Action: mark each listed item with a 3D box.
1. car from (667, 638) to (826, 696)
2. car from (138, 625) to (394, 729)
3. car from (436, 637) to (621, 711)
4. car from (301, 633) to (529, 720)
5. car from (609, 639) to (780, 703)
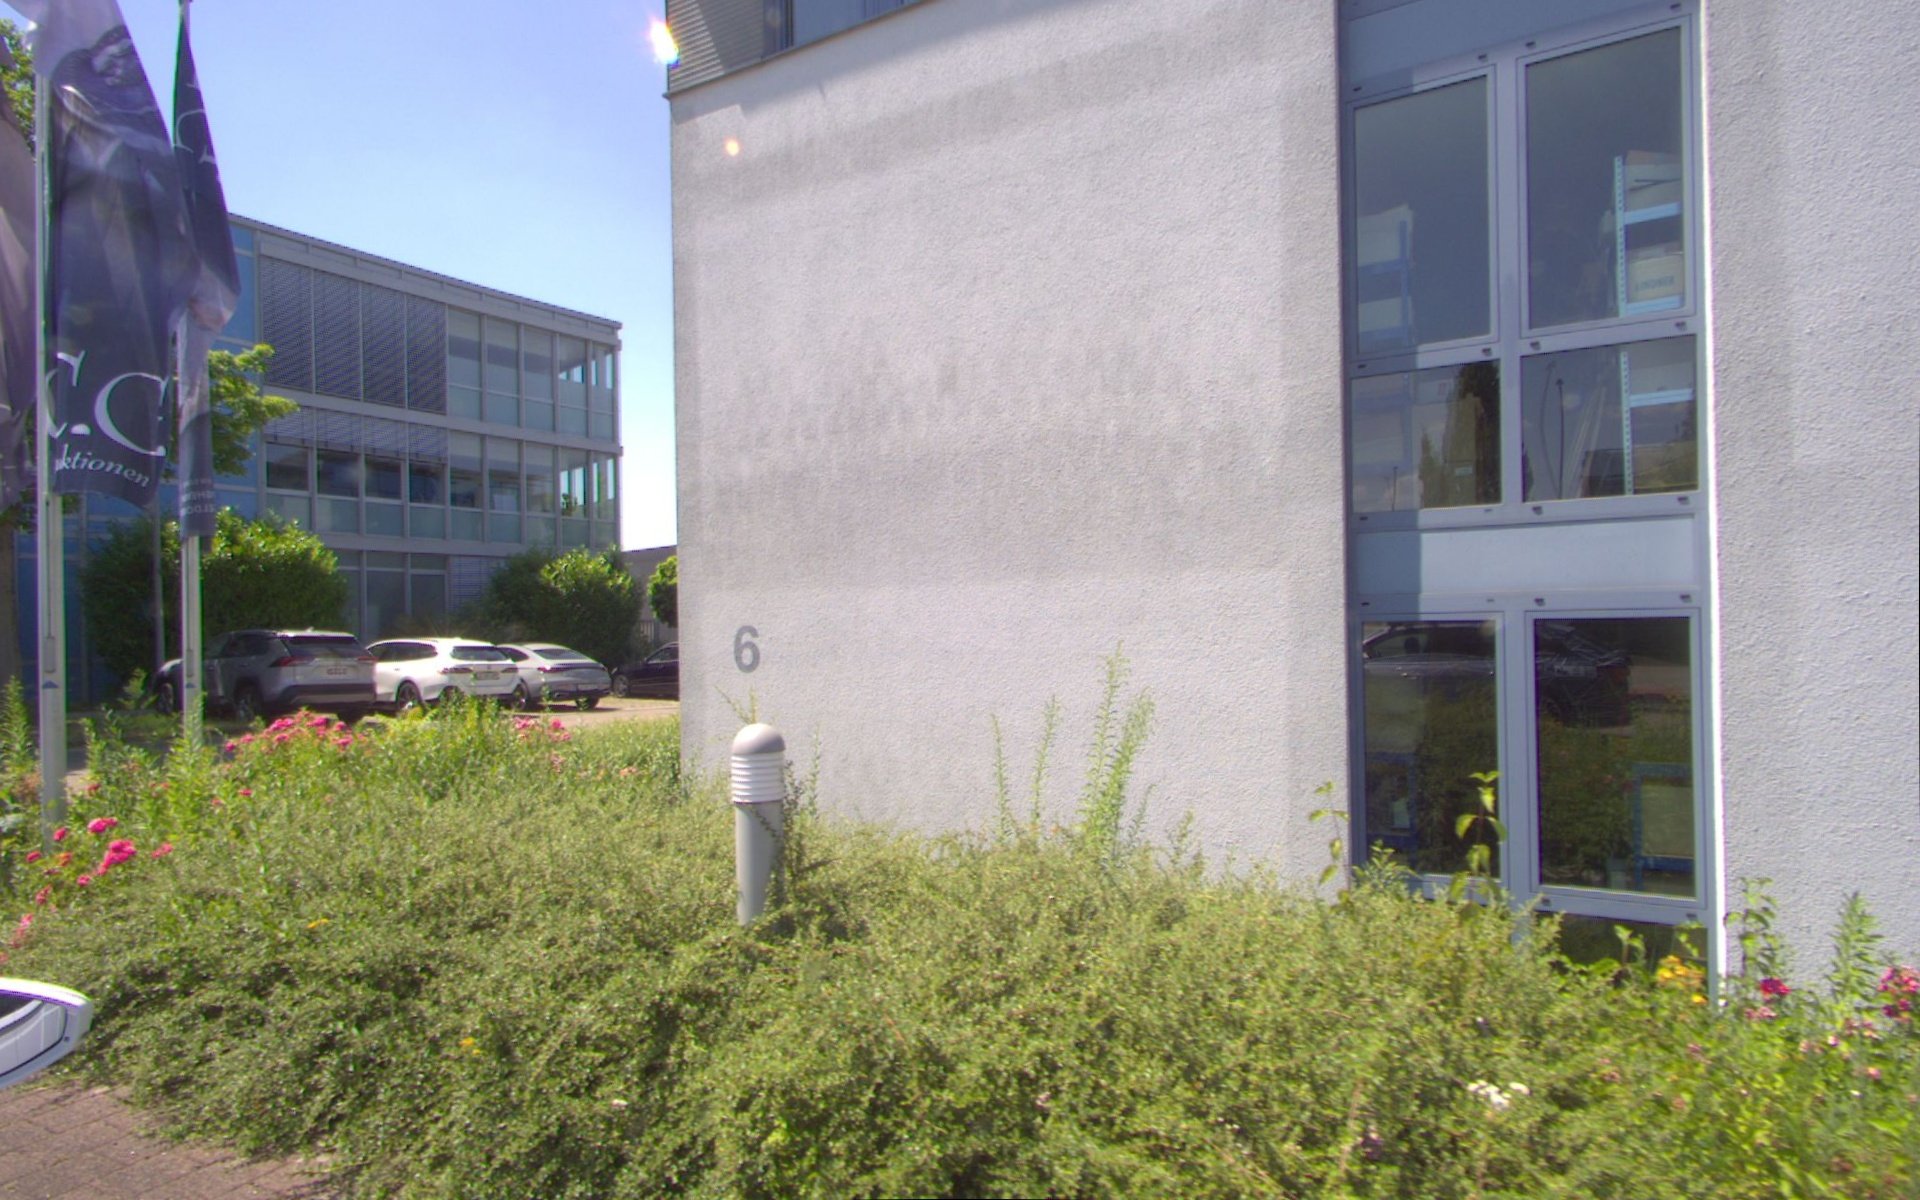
[{"bbox_3d":[-6.061,1.845,28.225,4.485,1.465,1.732,0,-3,34],"label":"car"},{"bbox_3d":[-12.368,1.285,17.826,4.268,1.640,1.820,0,-1,24],"label":"car"},{"bbox_3d":[-9.654,1.581,22.284,4.279,1.447,1.732,0,-3,34],"label":"car"},{"bbox_3d":[-10.834,1.462,19.905,4.268,1.510,1.737,0,-2,24],"label":"car"},{"bbox_3d":[-6.923,1.781,25.931,4.485,1.465,1.732,0,-3,34],"label":"car"}]
